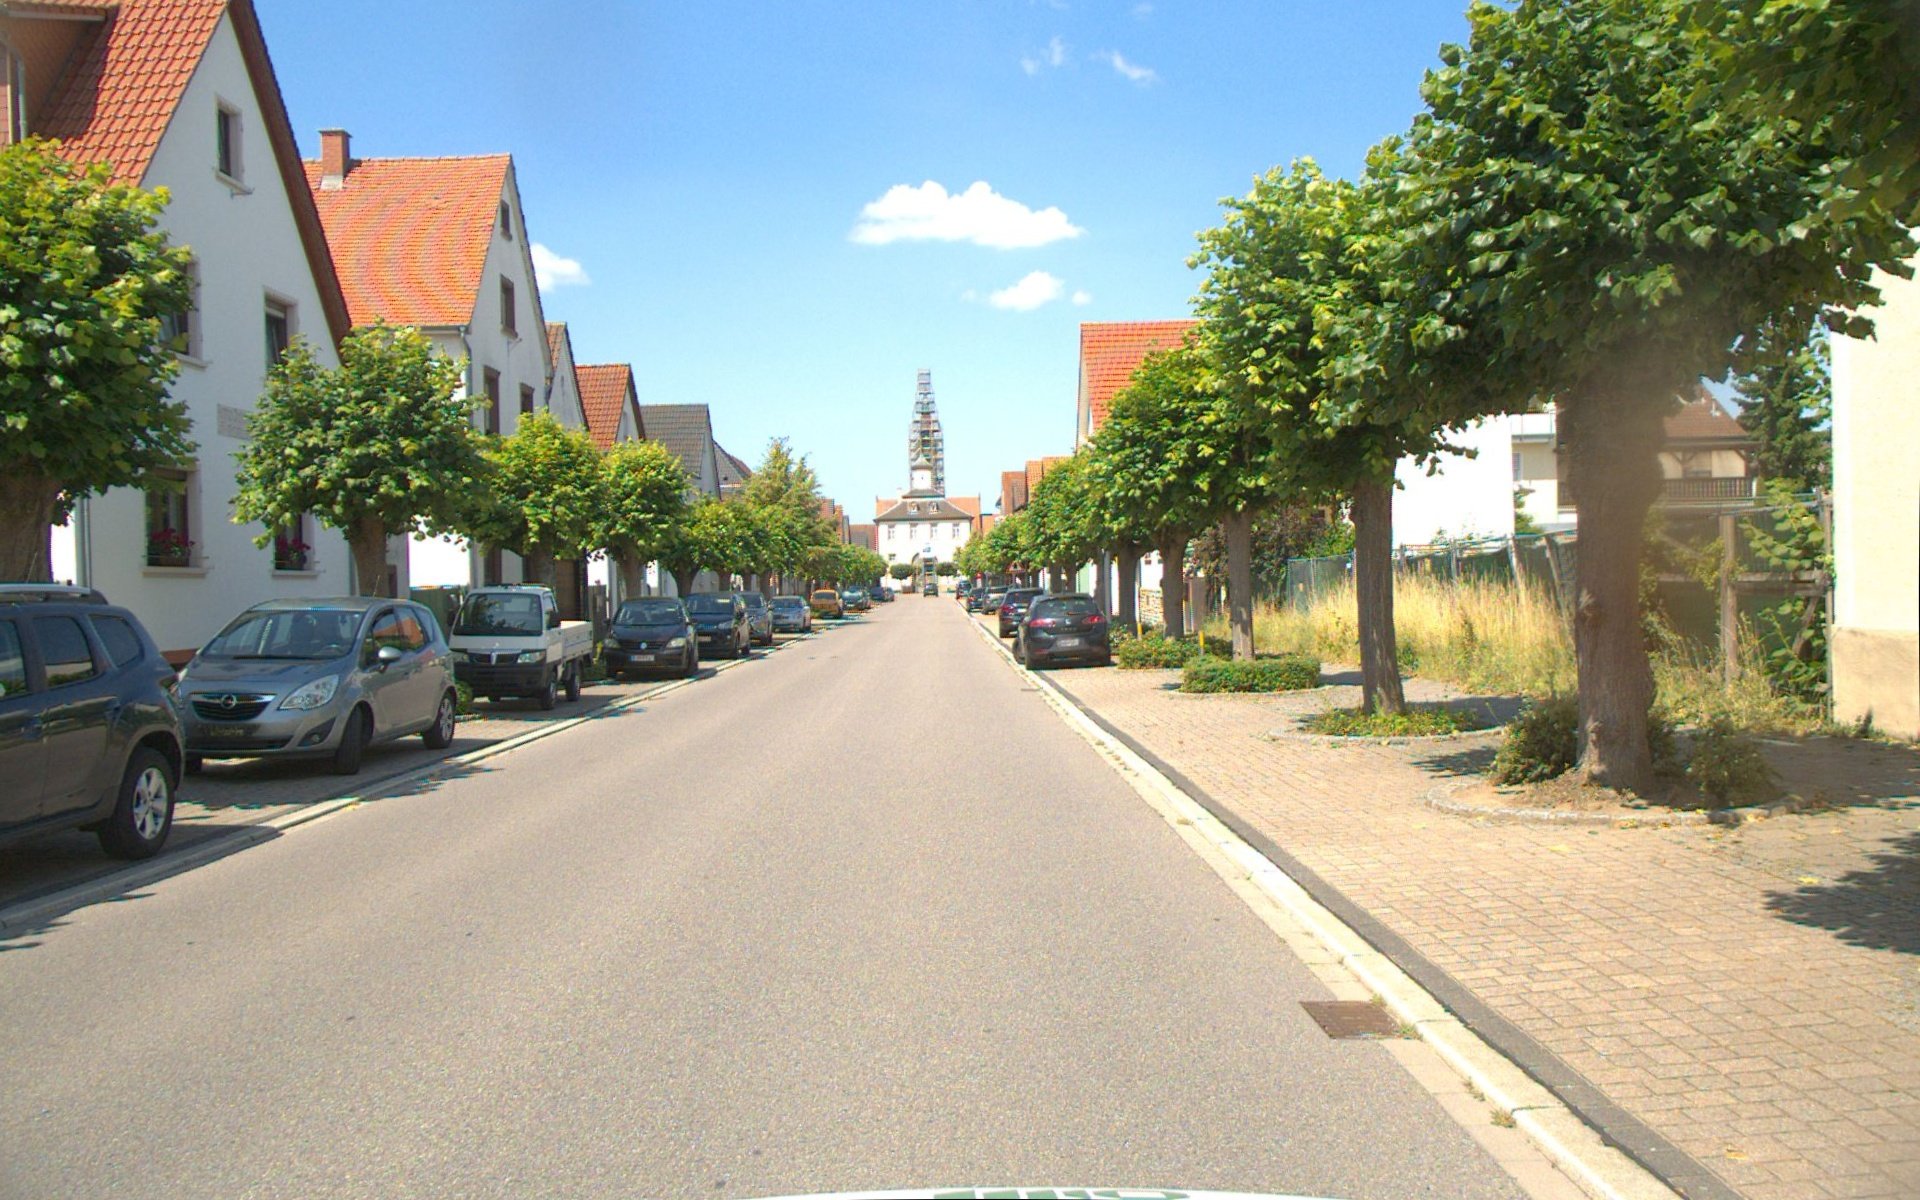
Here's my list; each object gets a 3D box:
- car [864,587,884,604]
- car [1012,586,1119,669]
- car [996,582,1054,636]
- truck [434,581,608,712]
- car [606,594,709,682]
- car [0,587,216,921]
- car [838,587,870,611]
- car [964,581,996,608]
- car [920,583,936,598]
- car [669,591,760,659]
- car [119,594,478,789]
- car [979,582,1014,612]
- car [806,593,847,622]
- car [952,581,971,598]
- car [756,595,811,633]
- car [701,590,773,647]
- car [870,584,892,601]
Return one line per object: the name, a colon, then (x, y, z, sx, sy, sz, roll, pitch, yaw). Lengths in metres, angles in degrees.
car: (-8.315, -0.458, 160.226, 1.722, 1.582, 4.020, -2, 1, 0)
car: (2.091, 0.516, 33.814, 1.787, 1.457, 4.056, -4, 1, -1)
car: (2.178, 0.278, 55.011, 1.786, 1.613, 4.059, -3, 1, 3)
truck: (-6.484, 0.635, 24.869, 1.544, 1.796, 4.191, 1, 0, -1)
car: (-6.041, 0.712, 33.350, 1.751, 1.662, 3.995, 0, 0, -6)
car: (-5.827, 0.796, 8.826, 1.815, 1.665, 4.298, 1, 1, -1)
car: (-7.513, -0.072, 117.229, 1.953, 1.639, 4.689, 0, 1, 0)
car: (1.221, -0.362, 103.295, 1.800, 1.582, 4.313, -3, 1, -1)
car: (-3.489, -1.039, 182.083, 1.694, 1.574, 3.455, 0, 0, -1)
car: (-6.265, 0.613, 42.590, 1.815, 1.664, 4.056, 0, 0, -1)
car: (-6.269, 0.779, 16.282, 1.815, 1.641, 4.370, 1, 0, -1)
car: (2.095, -0.175, 95.790, 1.800, 1.635, 3.998, -1, 1, -2)
car: (-7.697, 0.401, 95.606, 1.953, 1.639, 4.689, 0, 0, 0)
car: (0.171, -1.104, 166.057, 1.800, 1.582, 4.313, -3, 1, 0)
car: (-6.988, 0.525, 65.741, 1.803, 1.420, 4.405, -1, 0, -1)
car: (-6.894, 0.529, 51.435, 1.954, 1.681, 4.364, 0, 0, -4)
car: (-7.908, -0.768, 165.976, 1.953, 1.639, 3.855, 0, 0, 0)
